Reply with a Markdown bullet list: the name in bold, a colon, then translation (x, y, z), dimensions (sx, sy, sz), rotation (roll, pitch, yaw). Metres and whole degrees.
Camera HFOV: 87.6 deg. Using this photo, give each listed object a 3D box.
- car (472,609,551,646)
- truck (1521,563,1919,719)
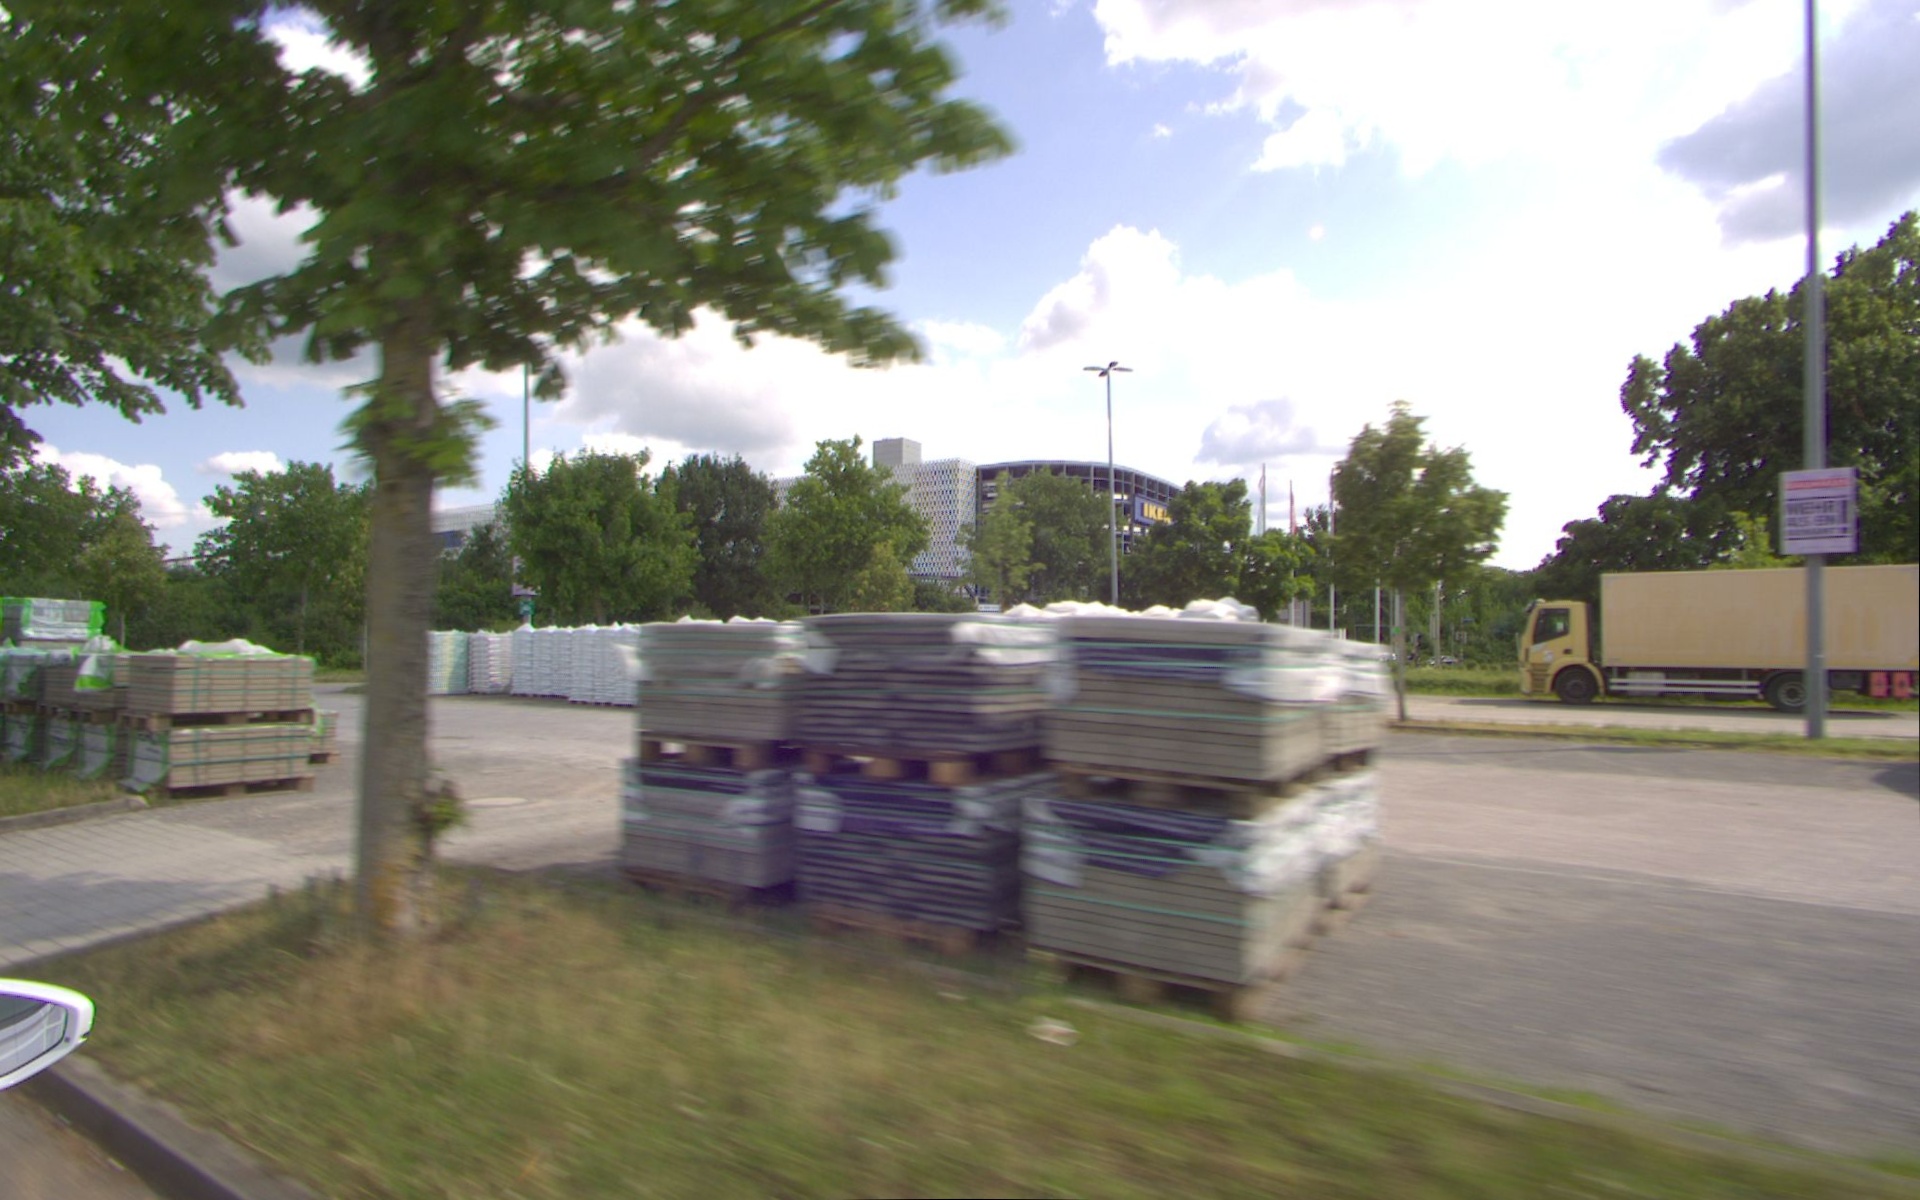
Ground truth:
- **car**: translation (-25.792, 1.617, 57.769), dimensions (3.931, 2.039, 1.997), rotation (1, -2, -18)
- **truck**: translation (20.213, 1.038, 26.780), dimensions (8.913, 3.645, 2.715), rotation (-1, -1, 35)
